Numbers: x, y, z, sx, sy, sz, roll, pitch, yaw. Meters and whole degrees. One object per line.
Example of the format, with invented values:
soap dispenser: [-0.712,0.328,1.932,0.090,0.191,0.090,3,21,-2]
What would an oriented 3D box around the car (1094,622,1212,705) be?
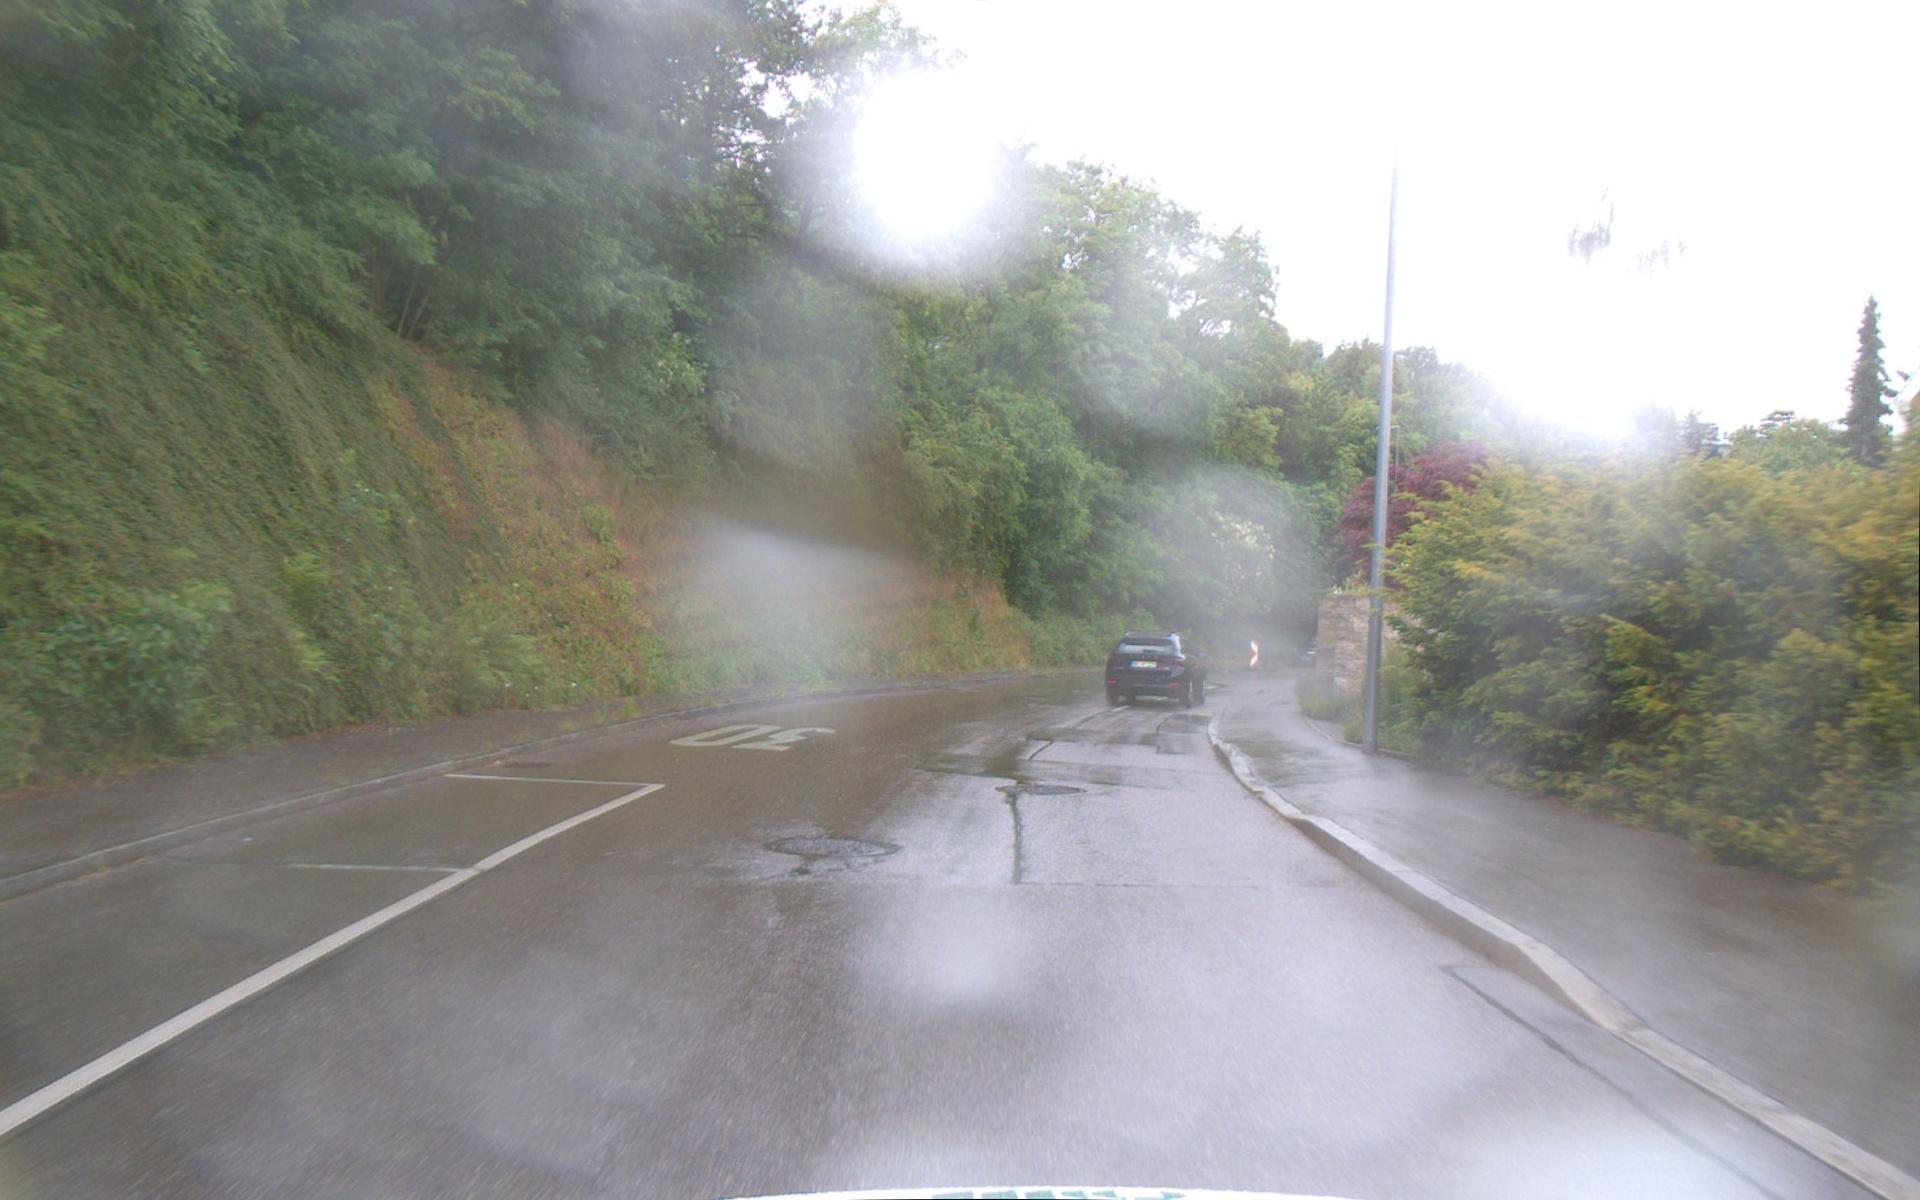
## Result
car: [4.082,1.286,34.411,1.829,1.539,4.095,2,-1,15]

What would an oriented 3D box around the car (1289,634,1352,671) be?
car: [16.128,2.350,73.968,1.668,1.496,3.994,4,0,28]
